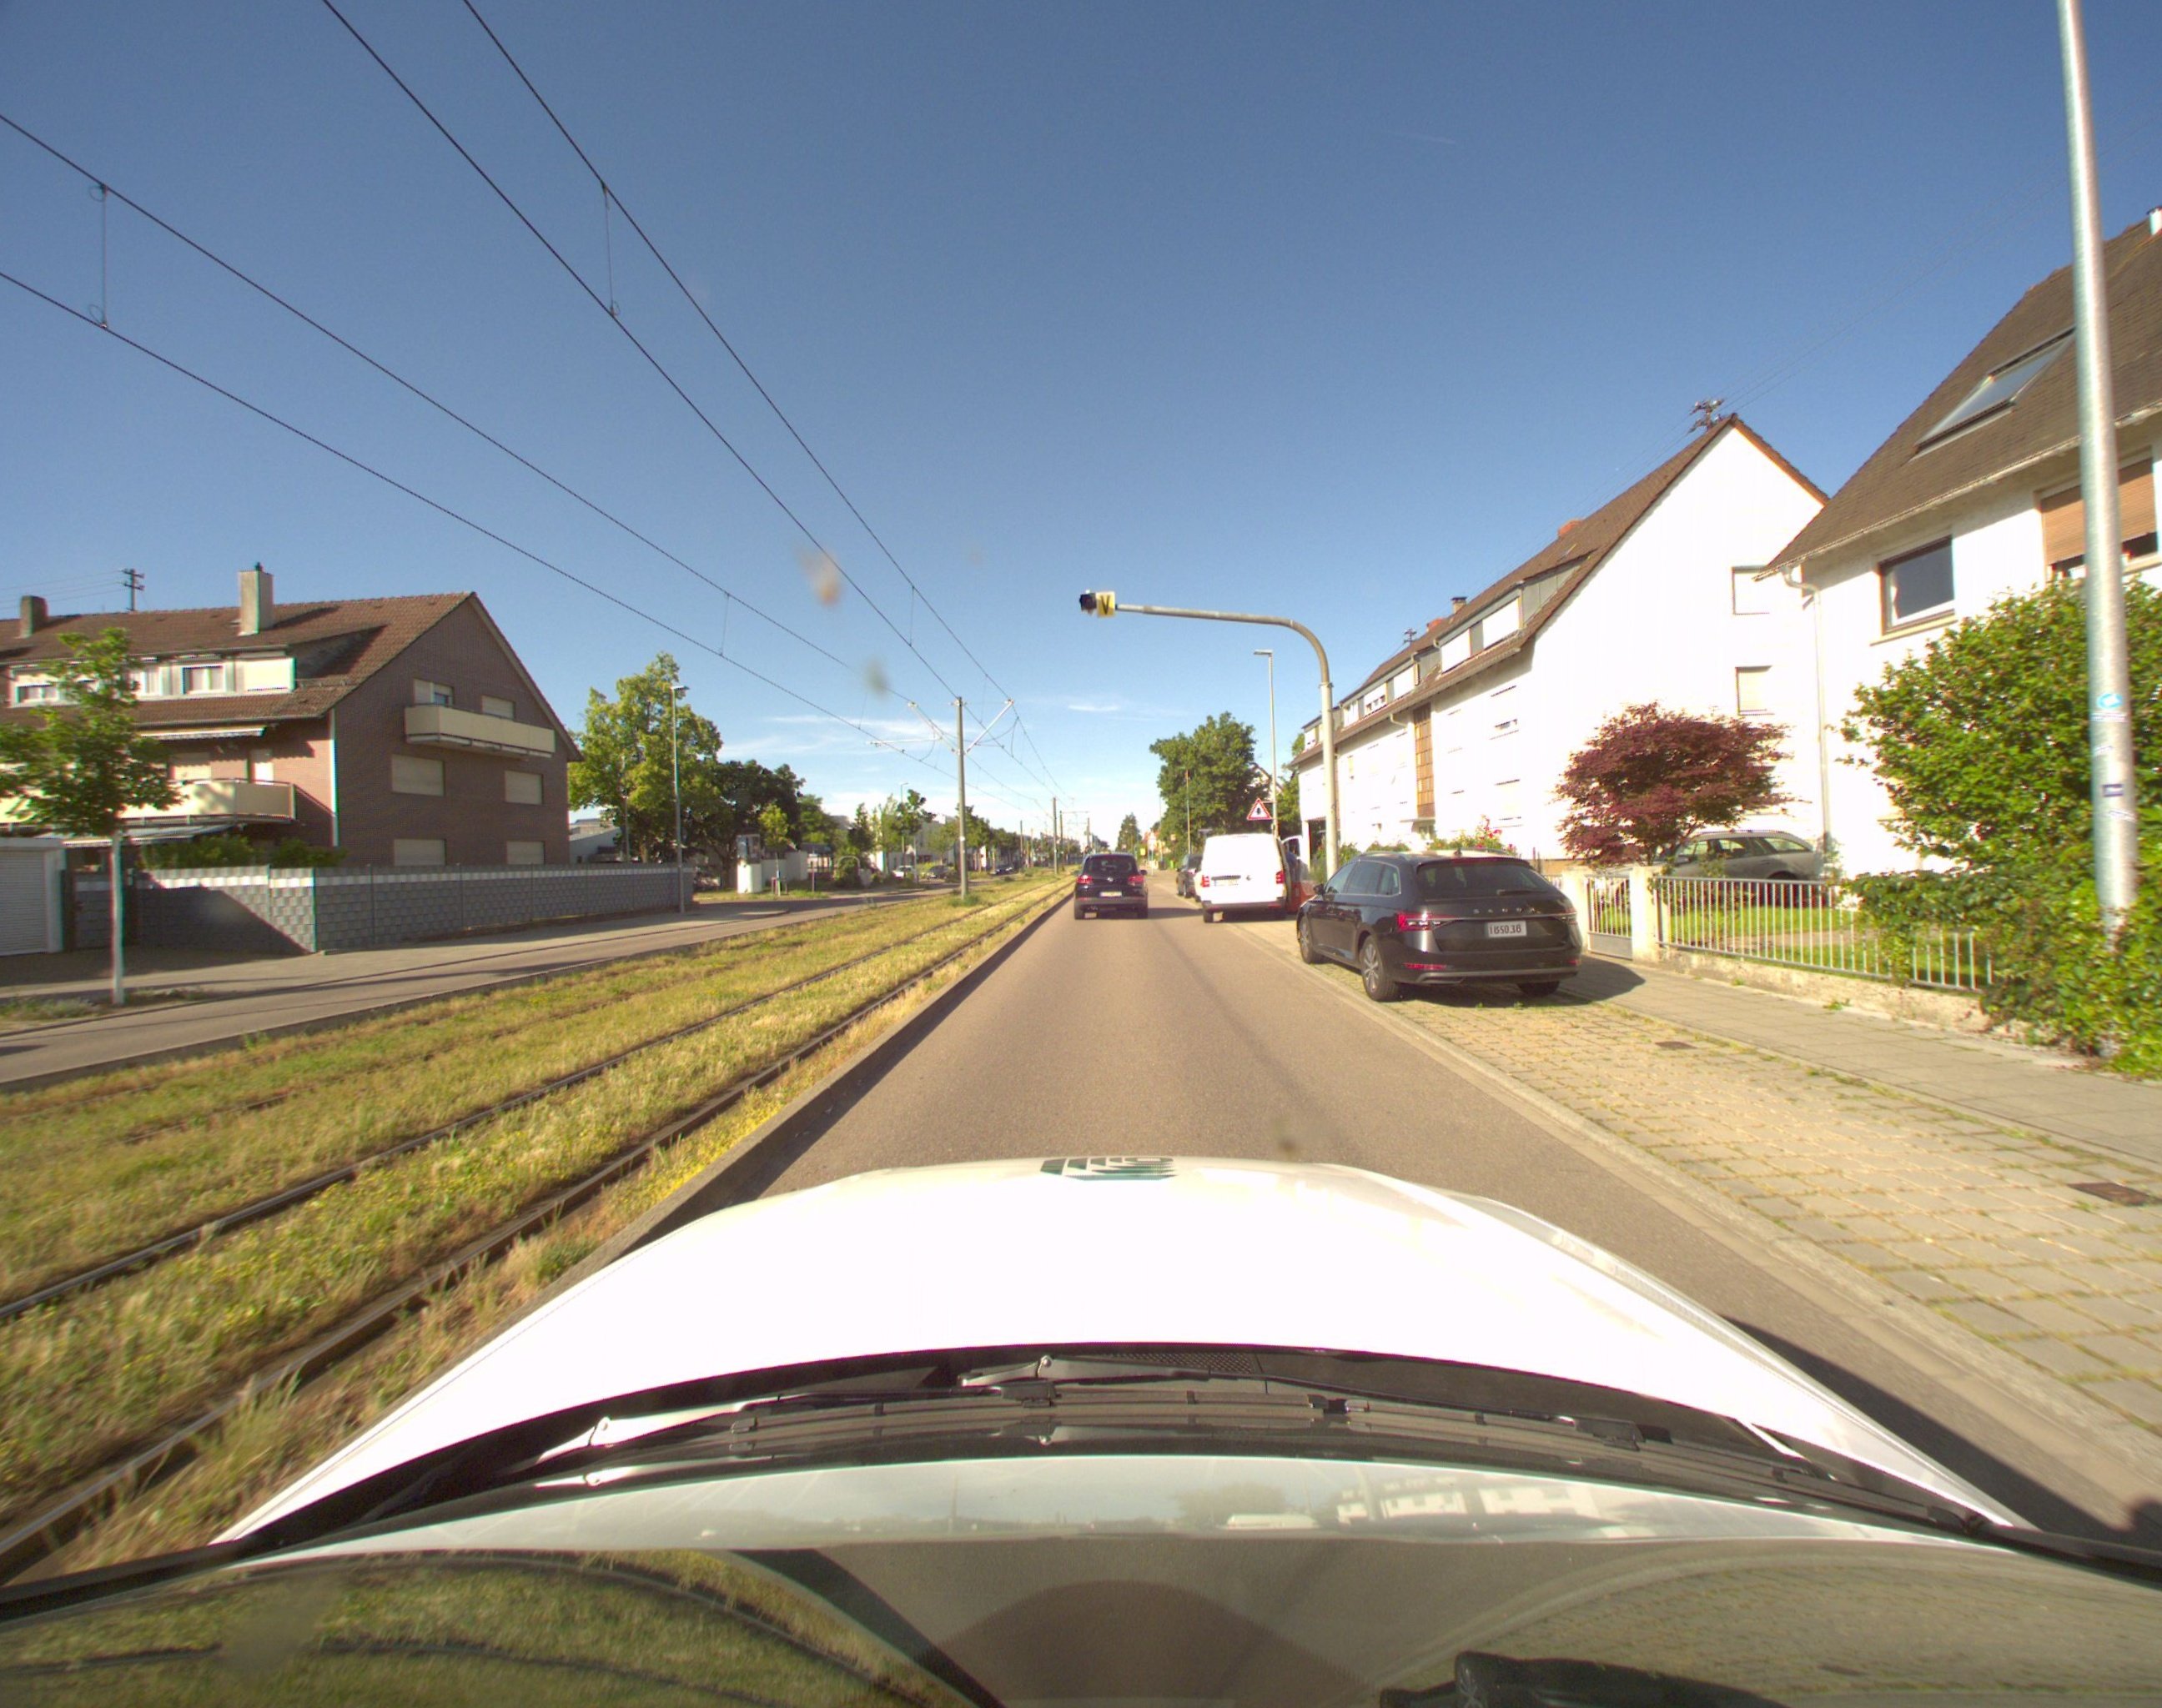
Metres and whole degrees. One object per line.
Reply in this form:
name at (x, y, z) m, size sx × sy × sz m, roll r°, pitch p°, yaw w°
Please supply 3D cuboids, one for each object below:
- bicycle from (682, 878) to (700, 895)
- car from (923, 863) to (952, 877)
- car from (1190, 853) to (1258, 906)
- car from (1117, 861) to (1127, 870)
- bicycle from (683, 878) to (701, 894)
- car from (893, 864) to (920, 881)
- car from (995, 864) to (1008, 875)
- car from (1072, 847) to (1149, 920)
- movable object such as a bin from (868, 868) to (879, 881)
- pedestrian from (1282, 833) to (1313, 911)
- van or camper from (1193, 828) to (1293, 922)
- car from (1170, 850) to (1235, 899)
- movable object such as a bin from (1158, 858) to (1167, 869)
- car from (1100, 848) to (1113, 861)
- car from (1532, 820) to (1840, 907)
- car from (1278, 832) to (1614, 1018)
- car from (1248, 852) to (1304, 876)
bicycle at (-26.574, 2.201, 55.517) m, size 1.055 × 1.083 × 0.303 m, roll -2°, pitch -1°, yaw -16°
car at (-15.048, 1.642, 85.770) m, size 1.801 × 1.461 × 4.325 m, roll 0°, pitch -1°, yaw 6°
car at (4.443, 0.764, 25.862) m, size 1.649 × 1.492 × 4.164 m, roll -2°, pitch -1°, yaw 4°
car at (8.286, 2.318, 163.055) m, size 1.770 × 1.670 × 3.999 m, roll -2°, pitch -1°, yaw 0°
bicycle at (-26.674, 2.196, 55.874) m, size 1.038 × 1.059 × 0.303 m, roll -2°, pitch -1°, yaw -16°
car at (-15.477, 1.642, 72.407) m, size 1.539 × 1.491 × 3.775 m, roll 0°, pitch -1°, yaw 1°
car at (-11.066, 2.174, 113.612) m, size 1.685 × 1.389 × 4.380 m, roll -3°, pitch -1°, yaw -5°
car at (0.700, 0.731, 21.261) m, size 1.770 × 1.670 × 3.999 m, roll -2°, pitch -1°, yaw 0°
movable object such as a bin at (-22.350, 2.202, 87.625) m, size 0.660 × 1.434 × 1.258 m, roll -1°, pitch -1°, yaw 10°
pedestrian at (5.435, 0.441, 20.462) m, size 0.694 × 1.912 × 0.761 m, roll -1°, pitch -1°, yaw 10°
van or camper at (3.916, 0.453, 20.007) m, size 2.015 × 1.956 × 5.309 m, roll -2°, pitch 0°, yaw 10°
car at (4.589, 0.751, 31.400) m, size 1.785 × 1.628 × 4.862 m, roll -4°, pitch 0°, yaw 1°
movable object such as a bin at (8.847, 1.019, 88.524) m, size 0.971 × 1.111 × 1.172 m, roll -2°, pitch -1°, yaw 5°
car at (4.997, 0.117, 158.217) m, size 2.385 × 2.564 × 5.533 m, roll -2°, pitch -1°, yaw 3°
car at (11.908, 0.200, 16.269) m, size 4.696 × 1.477 × 1.907 m, roll -2°, pitch -2°, yaw 0°
car at (3.748, 0.643, 9.568) m, size 1.742 × 1.494 × 5.157 m, roll -3°, pitch -1°, yaw 2°
car at (13.595, 0.740, 56.896) m, size 3.579 × 1.530 × 1.648 m, roll -2°, pitch -2°, yaw 3°
